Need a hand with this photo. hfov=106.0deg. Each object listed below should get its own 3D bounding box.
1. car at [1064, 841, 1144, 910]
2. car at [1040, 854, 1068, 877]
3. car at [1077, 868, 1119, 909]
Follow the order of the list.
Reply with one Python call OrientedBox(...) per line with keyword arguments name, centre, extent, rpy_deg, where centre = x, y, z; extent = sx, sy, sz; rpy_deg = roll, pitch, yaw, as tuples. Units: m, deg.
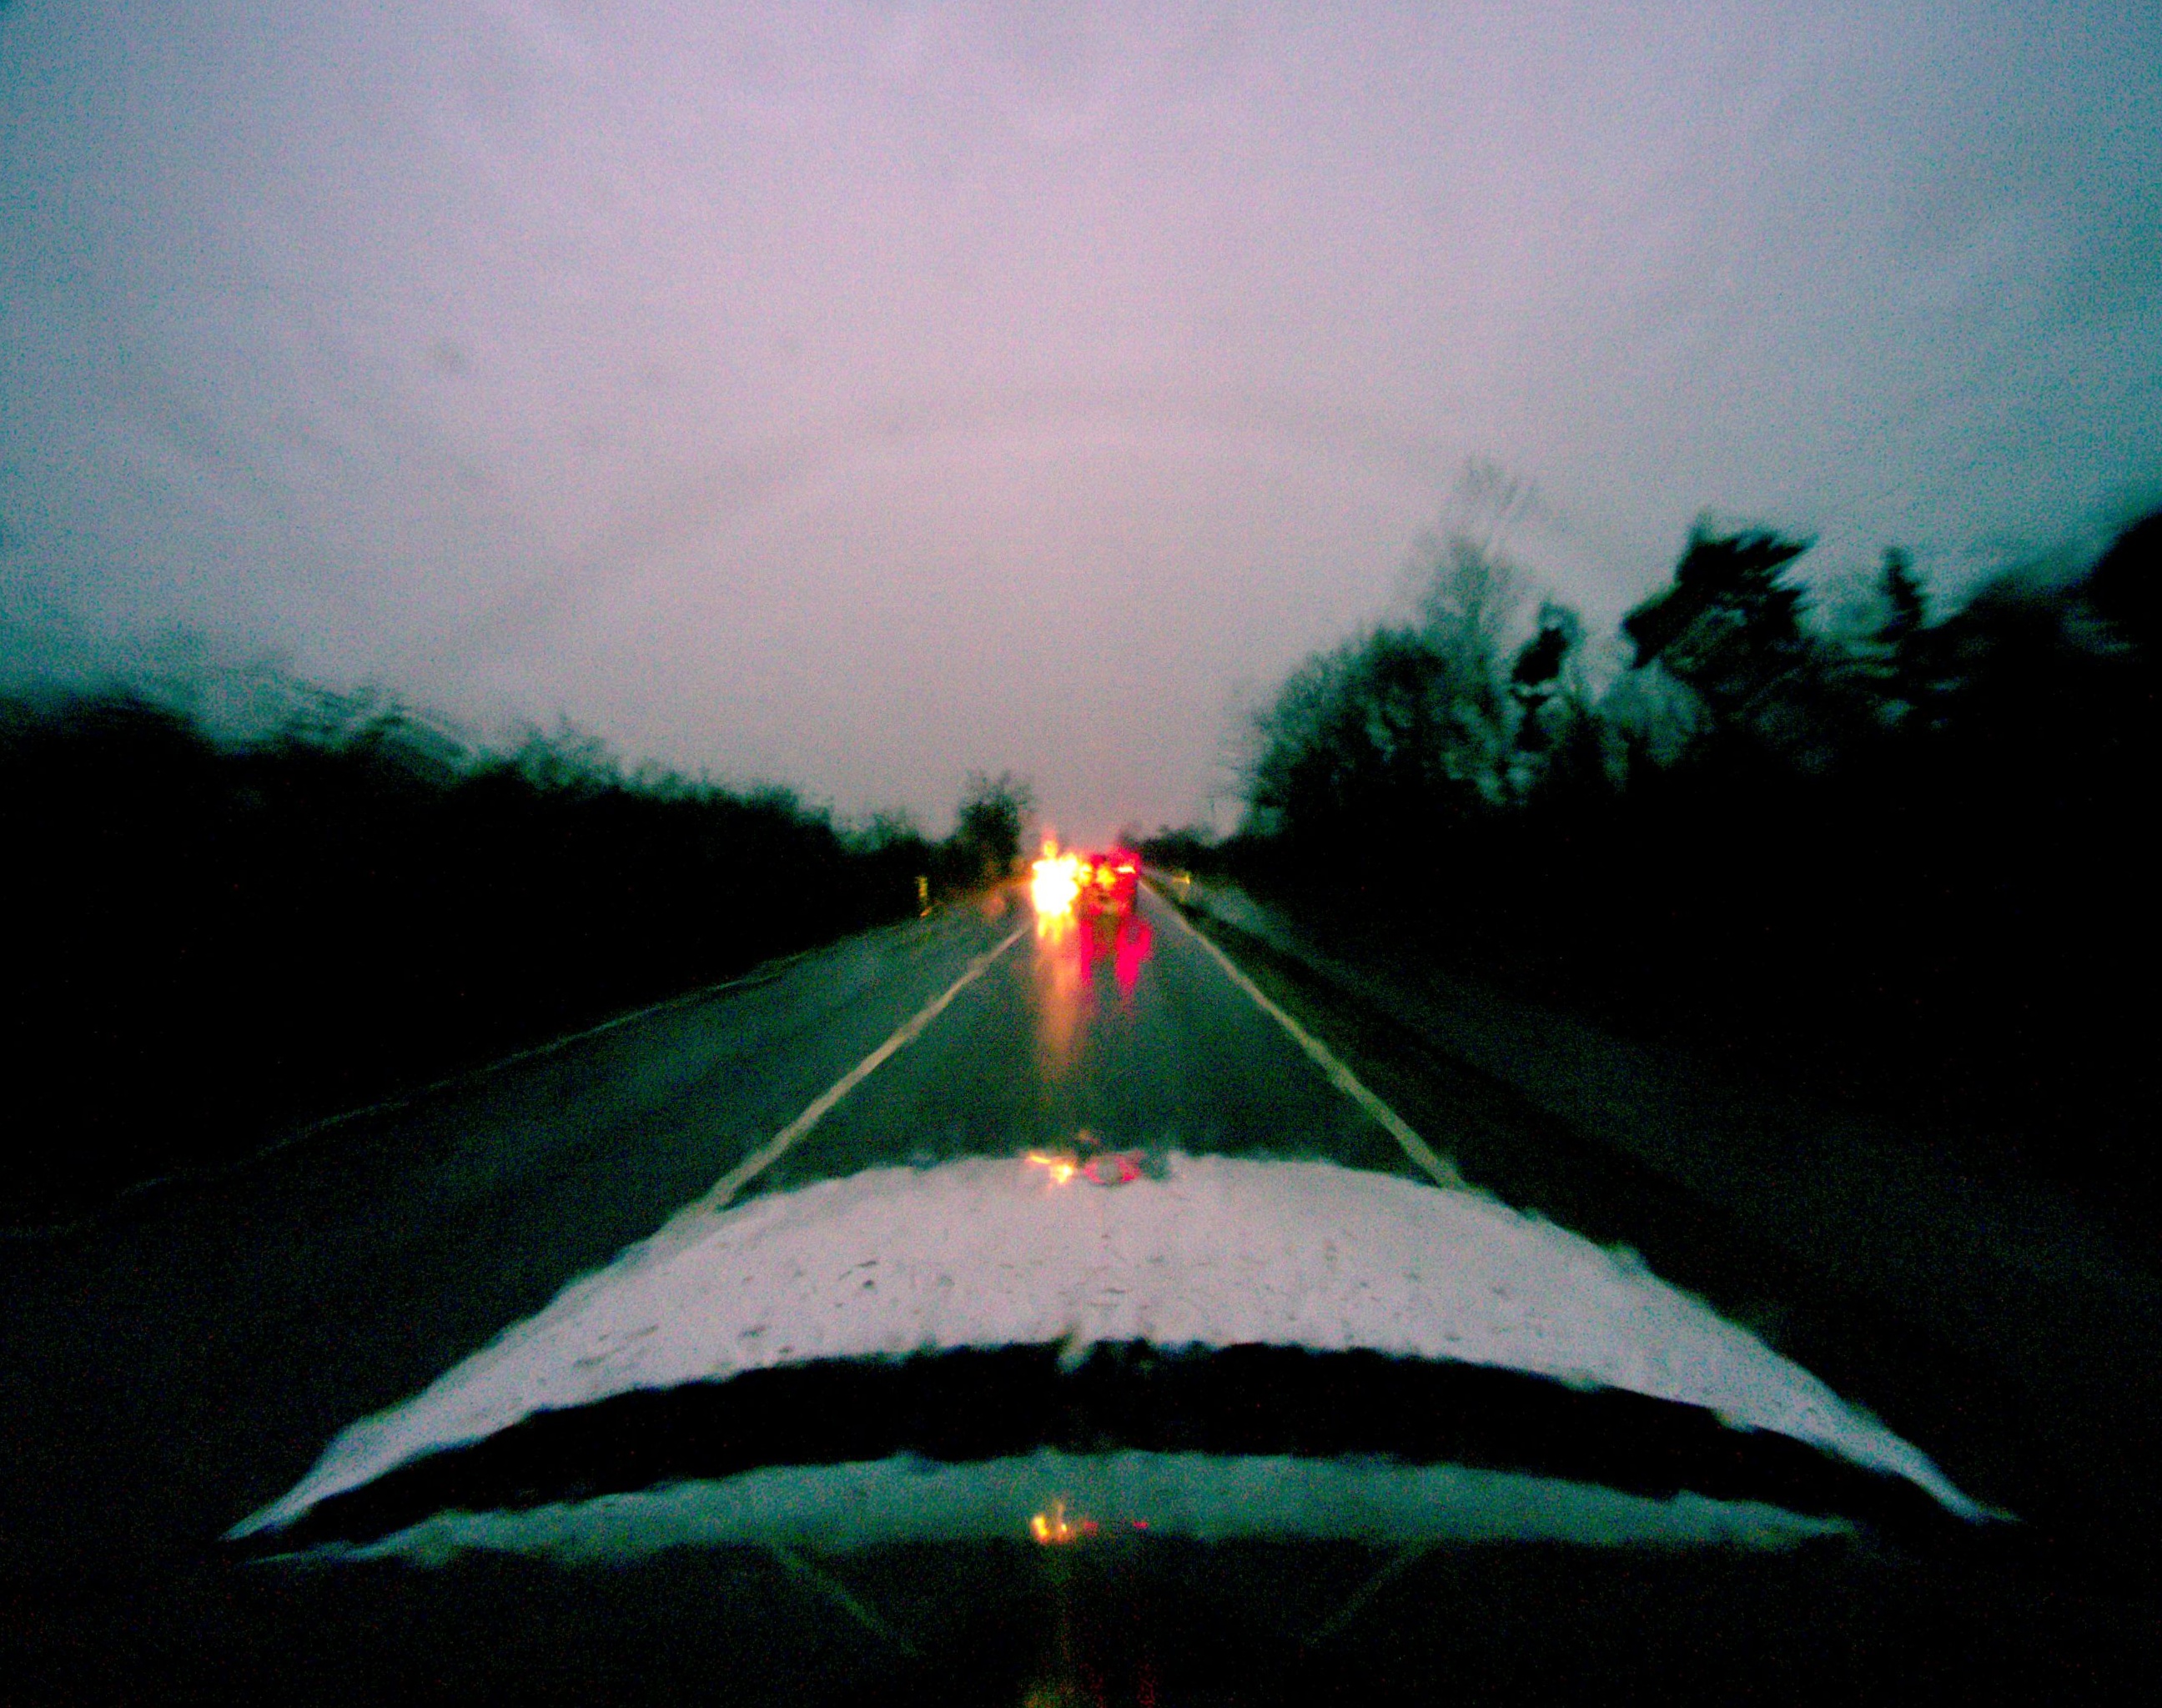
OrientedBox(name="car", centre=(0.712, 0.573, 24.417), extent=(2.112, 1.820, 4.982), rpy_deg=(-1, 0, 2))
OrientedBox(name="car", centre=(-1.855, 0.755, 56.296), extent=(1.626, 1.457, 3.983), rpy_deg=(-4, 0, 1))
OrientedBox(name="car", centre=(0.871, 1.660, 40.155), extent=(1.986, 1.849, 4.002), rpy_deg=(0, 0, 2))
